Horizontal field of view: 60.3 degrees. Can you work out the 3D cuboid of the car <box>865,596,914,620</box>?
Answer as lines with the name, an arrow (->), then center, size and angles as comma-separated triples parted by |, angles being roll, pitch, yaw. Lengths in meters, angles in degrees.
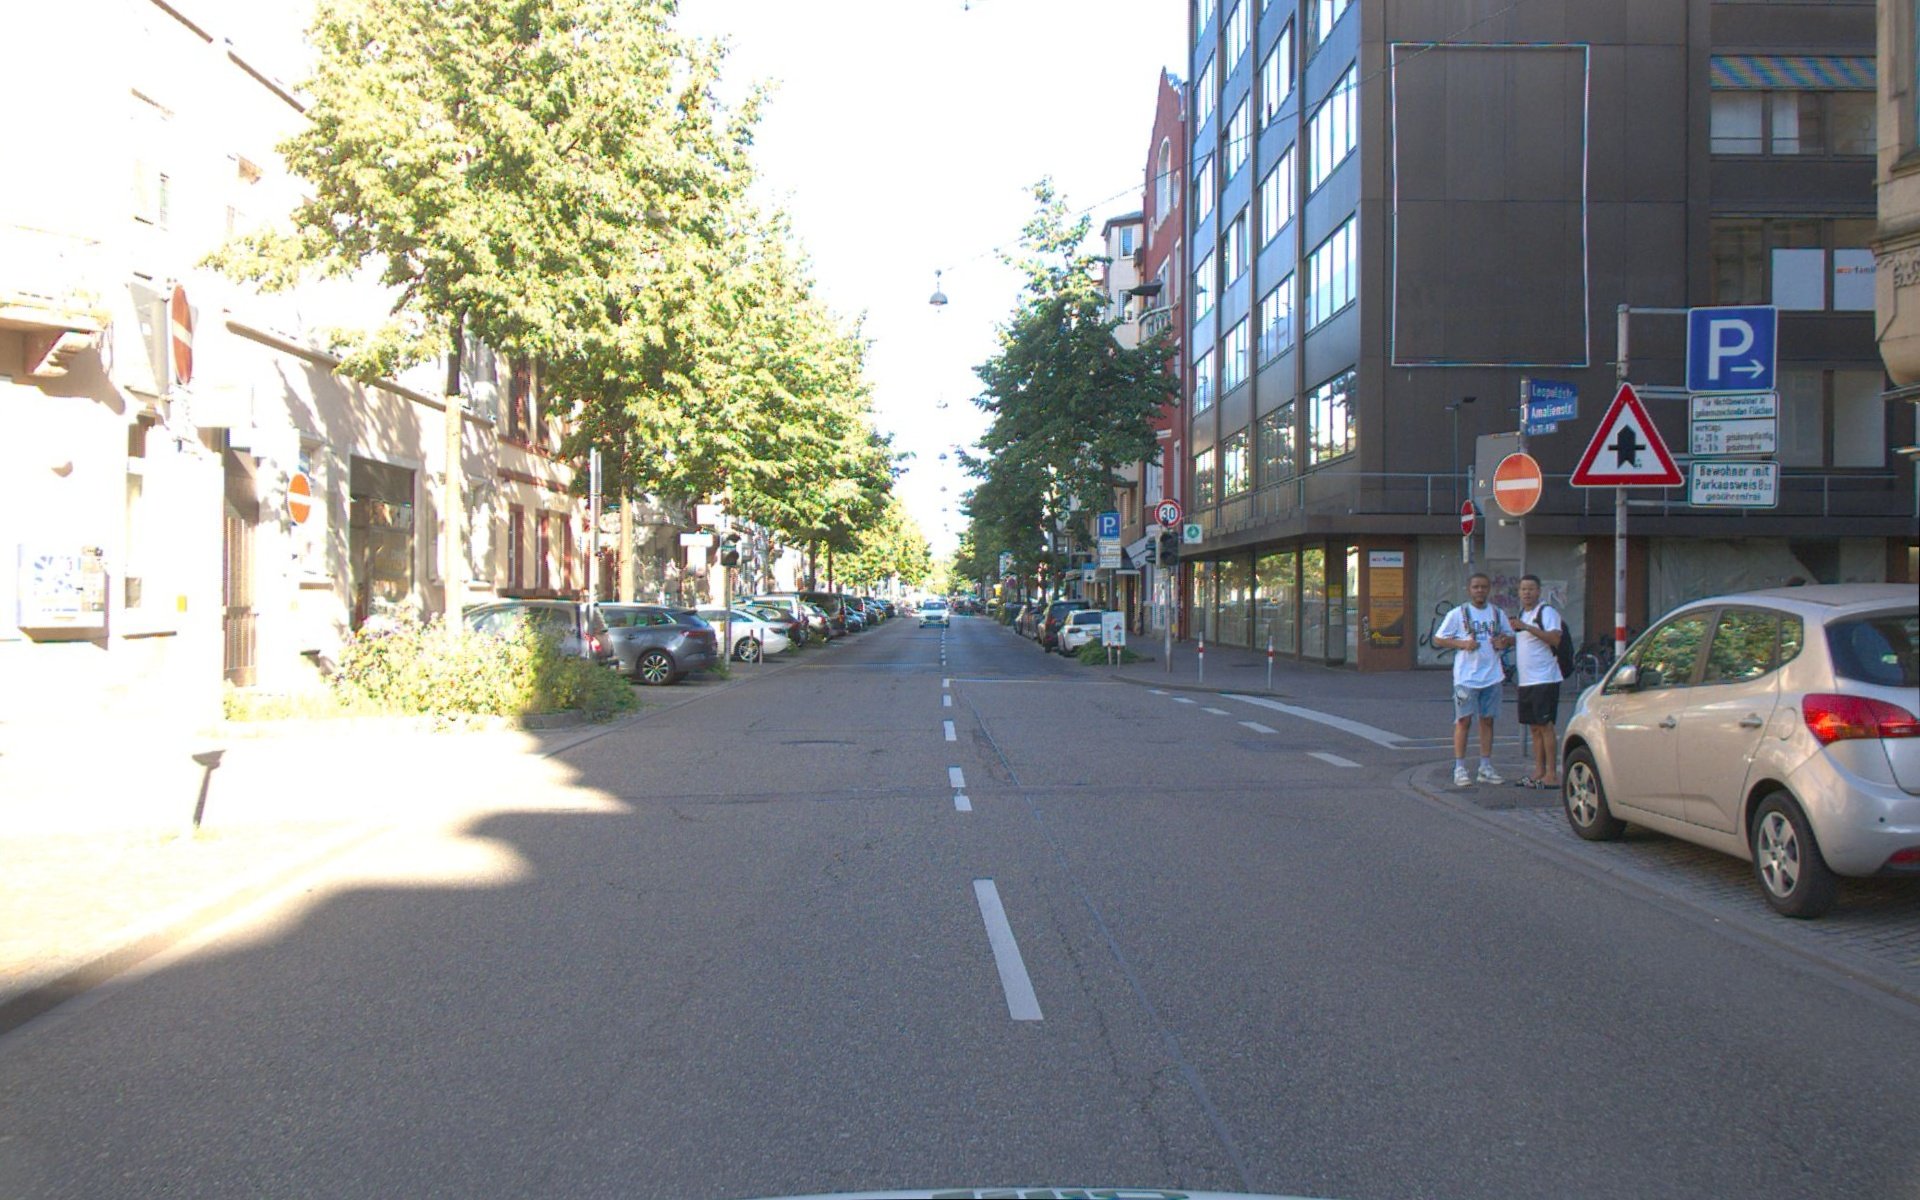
car -> -6.222, 0.748, 146.009 | 3.902, 2.049, 2.002 | 1, 0, 9

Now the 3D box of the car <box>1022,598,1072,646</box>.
car -> 3.921, 1.015, 75.120 | 1.953, 2.049, 3.999 | 1, -1, -1

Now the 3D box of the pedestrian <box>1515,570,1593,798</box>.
pedestrian -> 4.870, 0.676, 13.582 | 0.501, 1.811, 0.613 | 1, -1, 12

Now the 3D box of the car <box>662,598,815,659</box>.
car -> -6.090, 0.786, 45.784 | 3.905, 1.534, 2.000 | 1, -1, 0

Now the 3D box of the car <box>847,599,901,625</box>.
car -> -6.893, 0.975, 132.803 | 3.902, 2.049, 2.002 | 1, 0, 9

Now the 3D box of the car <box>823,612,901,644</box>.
car -> -5.263, 1.482, 89.048 | 3.904, 1.534, 2.001 | 3, -1, 3

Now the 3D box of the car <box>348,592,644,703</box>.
car -> -6.990, 0.710, 25.250 | 3.905, 1.534, 2.000 | 1, -1, 0

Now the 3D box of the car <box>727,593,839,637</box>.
car -> -6.550, 0.566, 61.496 | 3.905, 1.534, 2.000 | 1, -1, 0

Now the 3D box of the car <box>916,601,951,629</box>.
car -> -1.546, 0.902, 98.641 | 1.953, 1.583, 3.999 | 1, -1, 0

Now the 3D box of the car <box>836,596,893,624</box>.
car -> -7.270, 0.787, 126.122 | 3.902, 2.049, 2.002 | 1, 0, 9

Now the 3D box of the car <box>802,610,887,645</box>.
car -> -5.648, 1.338, 81.301 | 3.904, 1.534, 2.001 | 3, -1, 3

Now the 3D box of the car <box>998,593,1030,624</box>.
car -> 3.578, 0.556, 110.915 | 1.953, 2.049, 3.999 | 1, 0, -1

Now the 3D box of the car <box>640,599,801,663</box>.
car -> -6.247, 0.815, 43.498 | 3.905, 1.534, 2.000 | 1, -1, 0

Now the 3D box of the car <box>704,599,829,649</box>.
car -> -6.466, 0.801, 55.578 | 3.905, 1.534, 2.000 | 1, -1, 0

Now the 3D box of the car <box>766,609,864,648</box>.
car -> -6.031, 1.196, 69.196 | 3.906, 1.534, 1.999 | 1, -1, -1

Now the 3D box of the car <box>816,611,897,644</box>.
car -> -5.346, 1.424, 85.818 | 3.904, 1.534, 2.001 | 3, -1, 3

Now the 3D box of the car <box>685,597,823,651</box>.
car -> -6.288, 0.740, 50.814 | 3.905, 1.534, 2.000 | 1, -1, 0

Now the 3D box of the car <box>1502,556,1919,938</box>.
car -> 4.985, 0.719, 9.850 | 1.860, 1.704, 4.823 | 1, -1, -1

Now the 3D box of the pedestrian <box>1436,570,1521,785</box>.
pedestrian -> 4.380, 0.642, 13.999 | 0.601, 1.765, 0.634 | 1, -1, 11

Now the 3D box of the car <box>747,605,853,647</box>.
car -> -6.186, 1.003, 64.199 | 3.906, 1.534, 2.000 | 1, -1, -1

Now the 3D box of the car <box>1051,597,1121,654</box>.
car -> 3.847, 0.795, 51.058 | 1.952, 1.646, 4.011 | 2, -1, 2

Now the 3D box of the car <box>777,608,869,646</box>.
car -> -6.237, 1.223, 75.706 | 3.904, 1.534, 2.001 | 3, -1, 3

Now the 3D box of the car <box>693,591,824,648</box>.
car -> -6.466, 0.637, 53.299 | 3.905, 1.703, 2.089 | 1, -1, 0

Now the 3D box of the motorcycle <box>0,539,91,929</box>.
motorcycle -> -5.183, 0.574, 7.277 | 2.420, 1.632, 1.000 | -1, 0, 18

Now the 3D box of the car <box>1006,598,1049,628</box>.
car -> 3.382, 0.652, 83.394 | 1.953, 1.478, 3.999 | 1, 0, -1

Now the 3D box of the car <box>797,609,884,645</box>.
car -> -5.691, 1.299, 79.147 | 3.904, 1.534, 2.001 | 3, -1, 3

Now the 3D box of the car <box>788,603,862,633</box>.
car -> -7.695, 1.052, 94.713 | 3.904, 1.534, 2.001 | 3, -1, 3

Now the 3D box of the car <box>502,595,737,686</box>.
car -> -6.254, 0.737, 30.721 | 3.905, 1.534, 2.000 | 1, -1, 0

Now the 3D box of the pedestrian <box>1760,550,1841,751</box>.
pedestrian -> 8.198, 0.485, 16.156 | 0.632, 1.904, 0.627 | 1, -1, 22

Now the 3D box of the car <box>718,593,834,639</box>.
car -> -6.601, 0.577, 59.504 | 3.905, 1.534, 1.894 | 1, -1, 0

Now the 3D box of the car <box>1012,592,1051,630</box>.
car -> 4.028, 0.609, 94.016 | 1.953, 2.049, 3.999 | -1, 0, -1

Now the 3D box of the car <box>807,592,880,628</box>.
car -> -6.872, 0.604, 97.819 | 3.902, 2.049, 2.002 | 1, 0, 9
